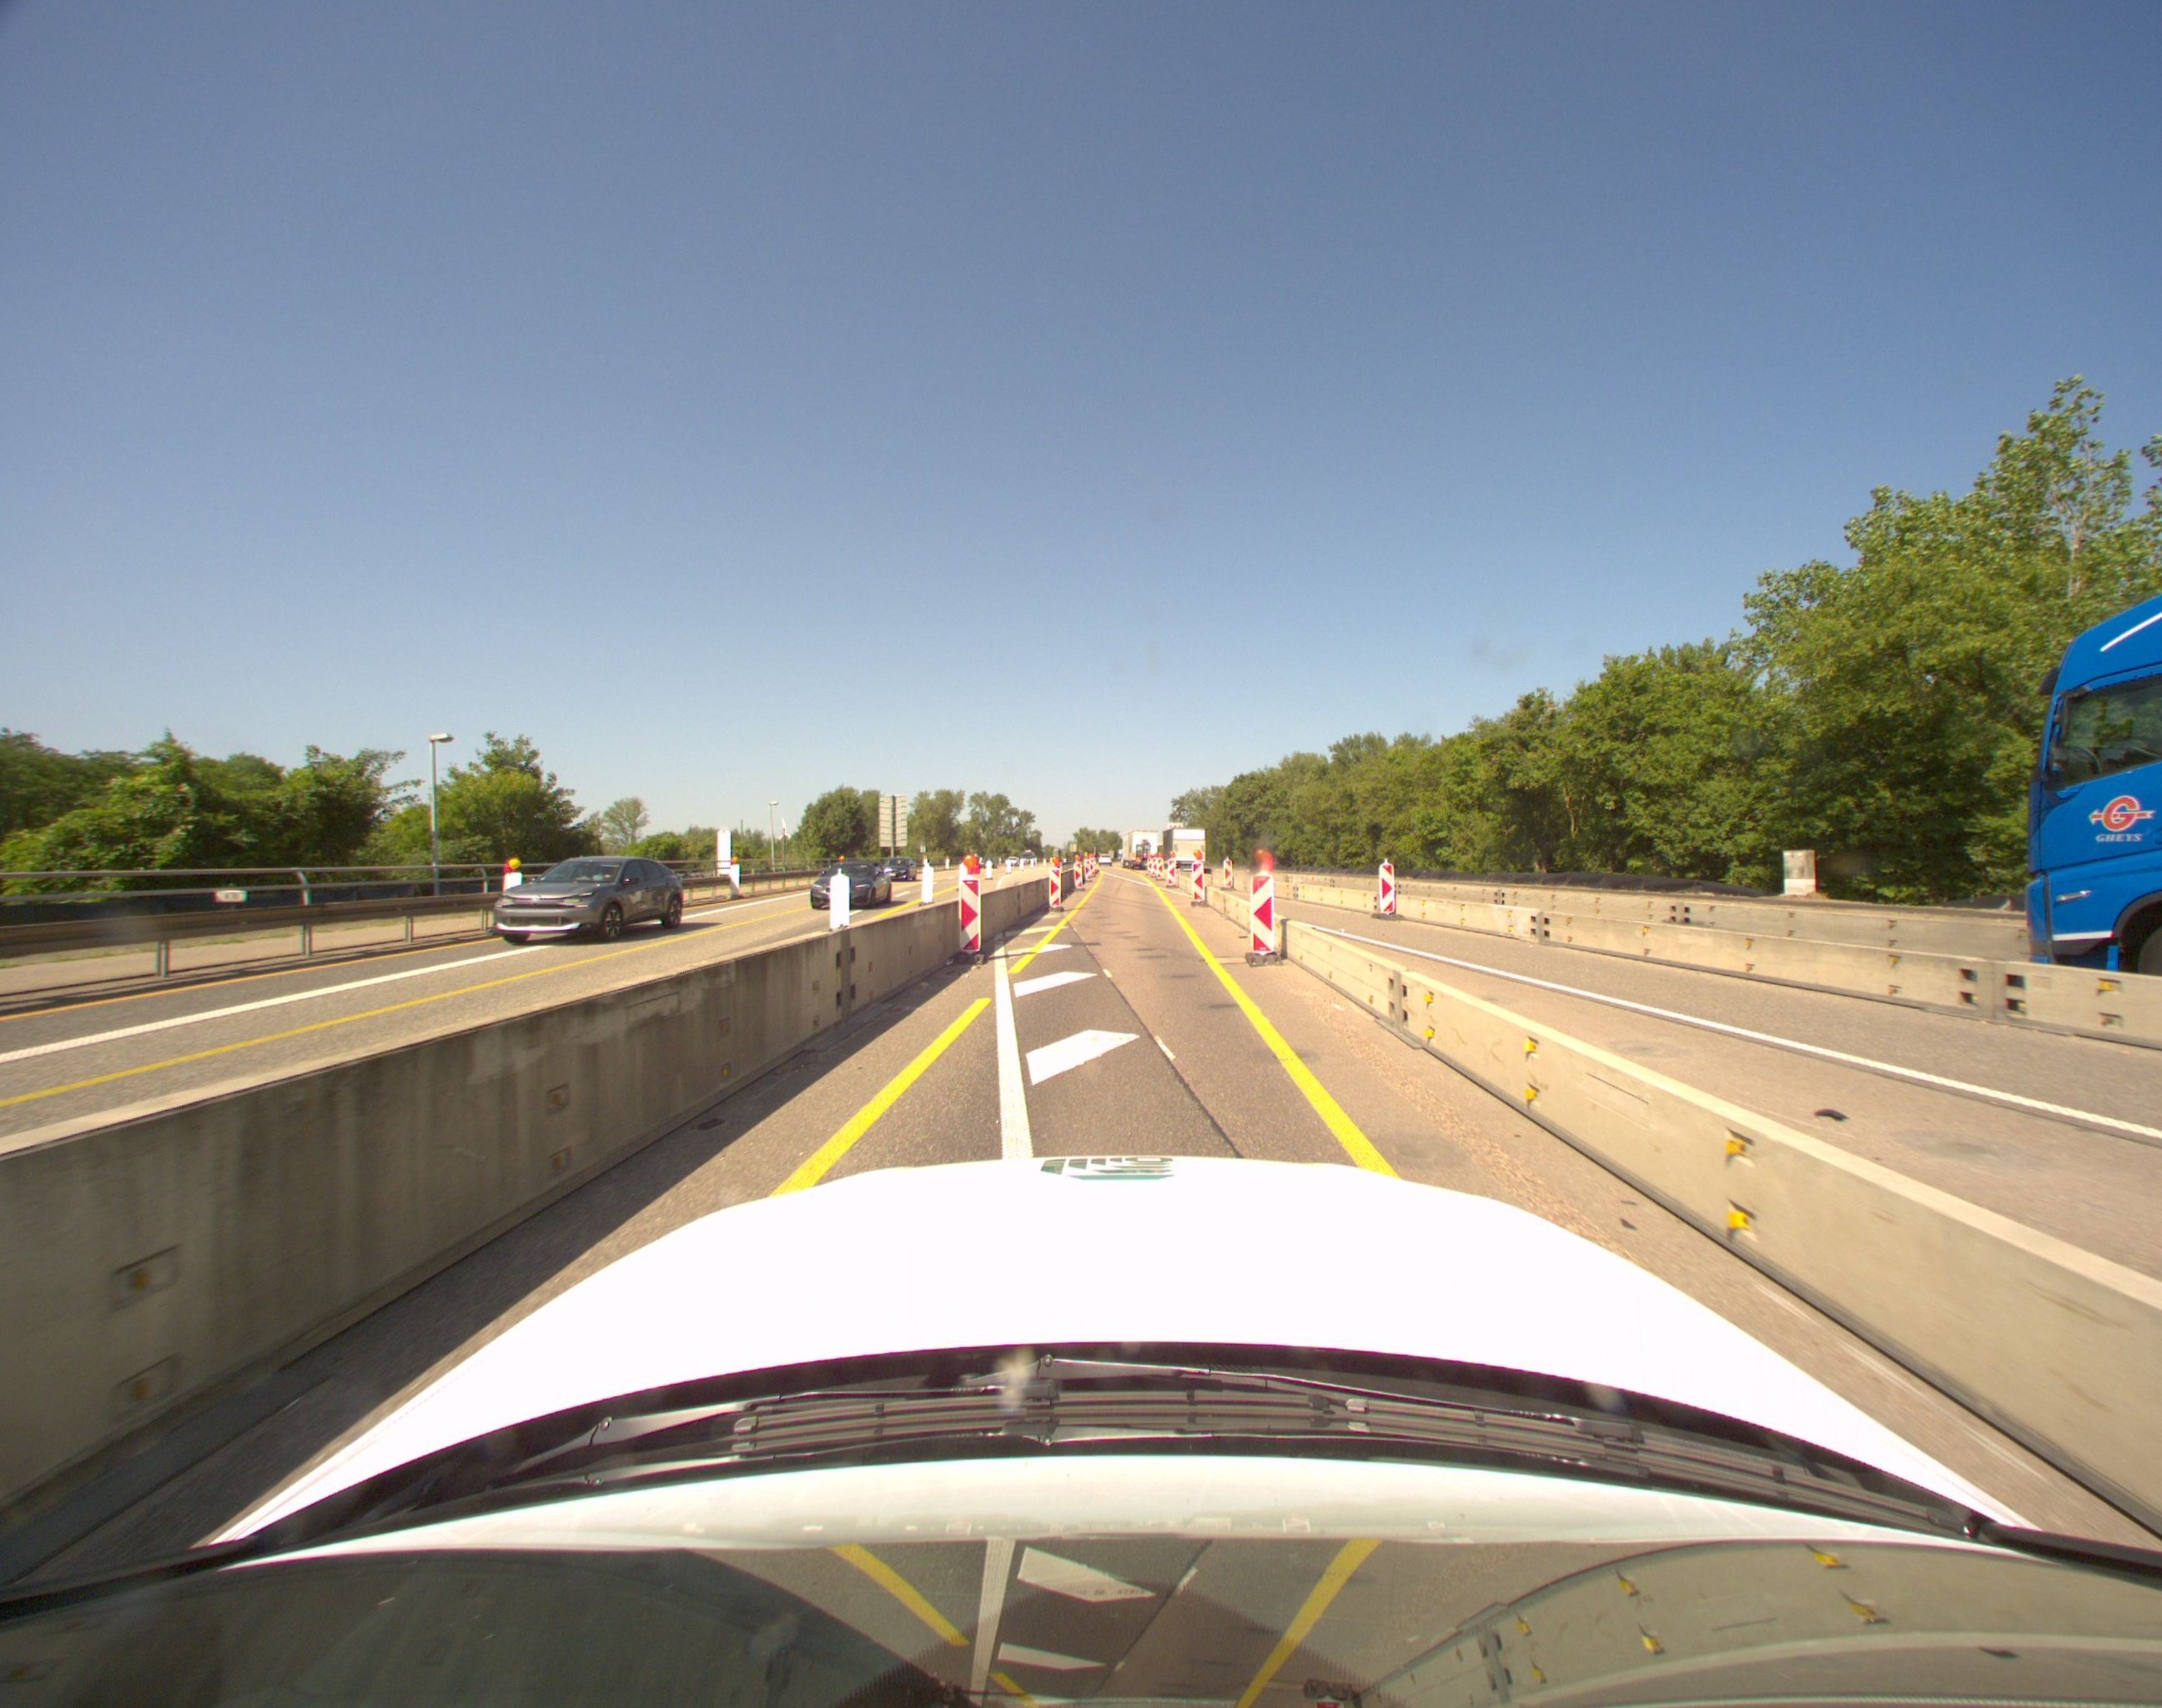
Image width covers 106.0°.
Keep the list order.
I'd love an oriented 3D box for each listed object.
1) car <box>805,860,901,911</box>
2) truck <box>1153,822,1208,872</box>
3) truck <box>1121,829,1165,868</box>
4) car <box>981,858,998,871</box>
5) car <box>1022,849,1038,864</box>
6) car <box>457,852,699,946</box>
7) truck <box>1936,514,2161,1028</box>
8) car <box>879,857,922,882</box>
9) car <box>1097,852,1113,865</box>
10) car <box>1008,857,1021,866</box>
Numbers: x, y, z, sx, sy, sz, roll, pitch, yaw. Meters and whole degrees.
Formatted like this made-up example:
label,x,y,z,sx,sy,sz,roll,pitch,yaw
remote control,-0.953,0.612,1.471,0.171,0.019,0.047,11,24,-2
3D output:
label,x,y,z,sx,sy,sz,roll,pitch,yaw
car,-6.785,0.892,24.712,1.684,1.376,4.272,-1,0,0
truck,7.194,-0.476,59.884,2.630,3.427,7.221,0,0,-4
truck,6.315,-0.542,84.210,3.383,3.774,7.221,-1,0,-5
car,-11.481,1.271,102.121,1.733,1.476,4.641,-1,0,-2
car,-9.116,0.512,145.992,2.138,2.660,5.548,0,0,2
car,-9.288,0.733,15.578,1.927,1.508,4.466,-1,0,-2
truck,10.161,-0.698,4.556,2.689,4.102,7.288,-1,0,-5
car,-10.883,0.895,49.453,1.663,1.442,4.992,0,0,-2
car,3.424,0.605,114.709,1.813,1.776,3.993,-1,0,-5
car,-10.384,1.132,127.678,1.714,1.397,4.517,0,0,-1
